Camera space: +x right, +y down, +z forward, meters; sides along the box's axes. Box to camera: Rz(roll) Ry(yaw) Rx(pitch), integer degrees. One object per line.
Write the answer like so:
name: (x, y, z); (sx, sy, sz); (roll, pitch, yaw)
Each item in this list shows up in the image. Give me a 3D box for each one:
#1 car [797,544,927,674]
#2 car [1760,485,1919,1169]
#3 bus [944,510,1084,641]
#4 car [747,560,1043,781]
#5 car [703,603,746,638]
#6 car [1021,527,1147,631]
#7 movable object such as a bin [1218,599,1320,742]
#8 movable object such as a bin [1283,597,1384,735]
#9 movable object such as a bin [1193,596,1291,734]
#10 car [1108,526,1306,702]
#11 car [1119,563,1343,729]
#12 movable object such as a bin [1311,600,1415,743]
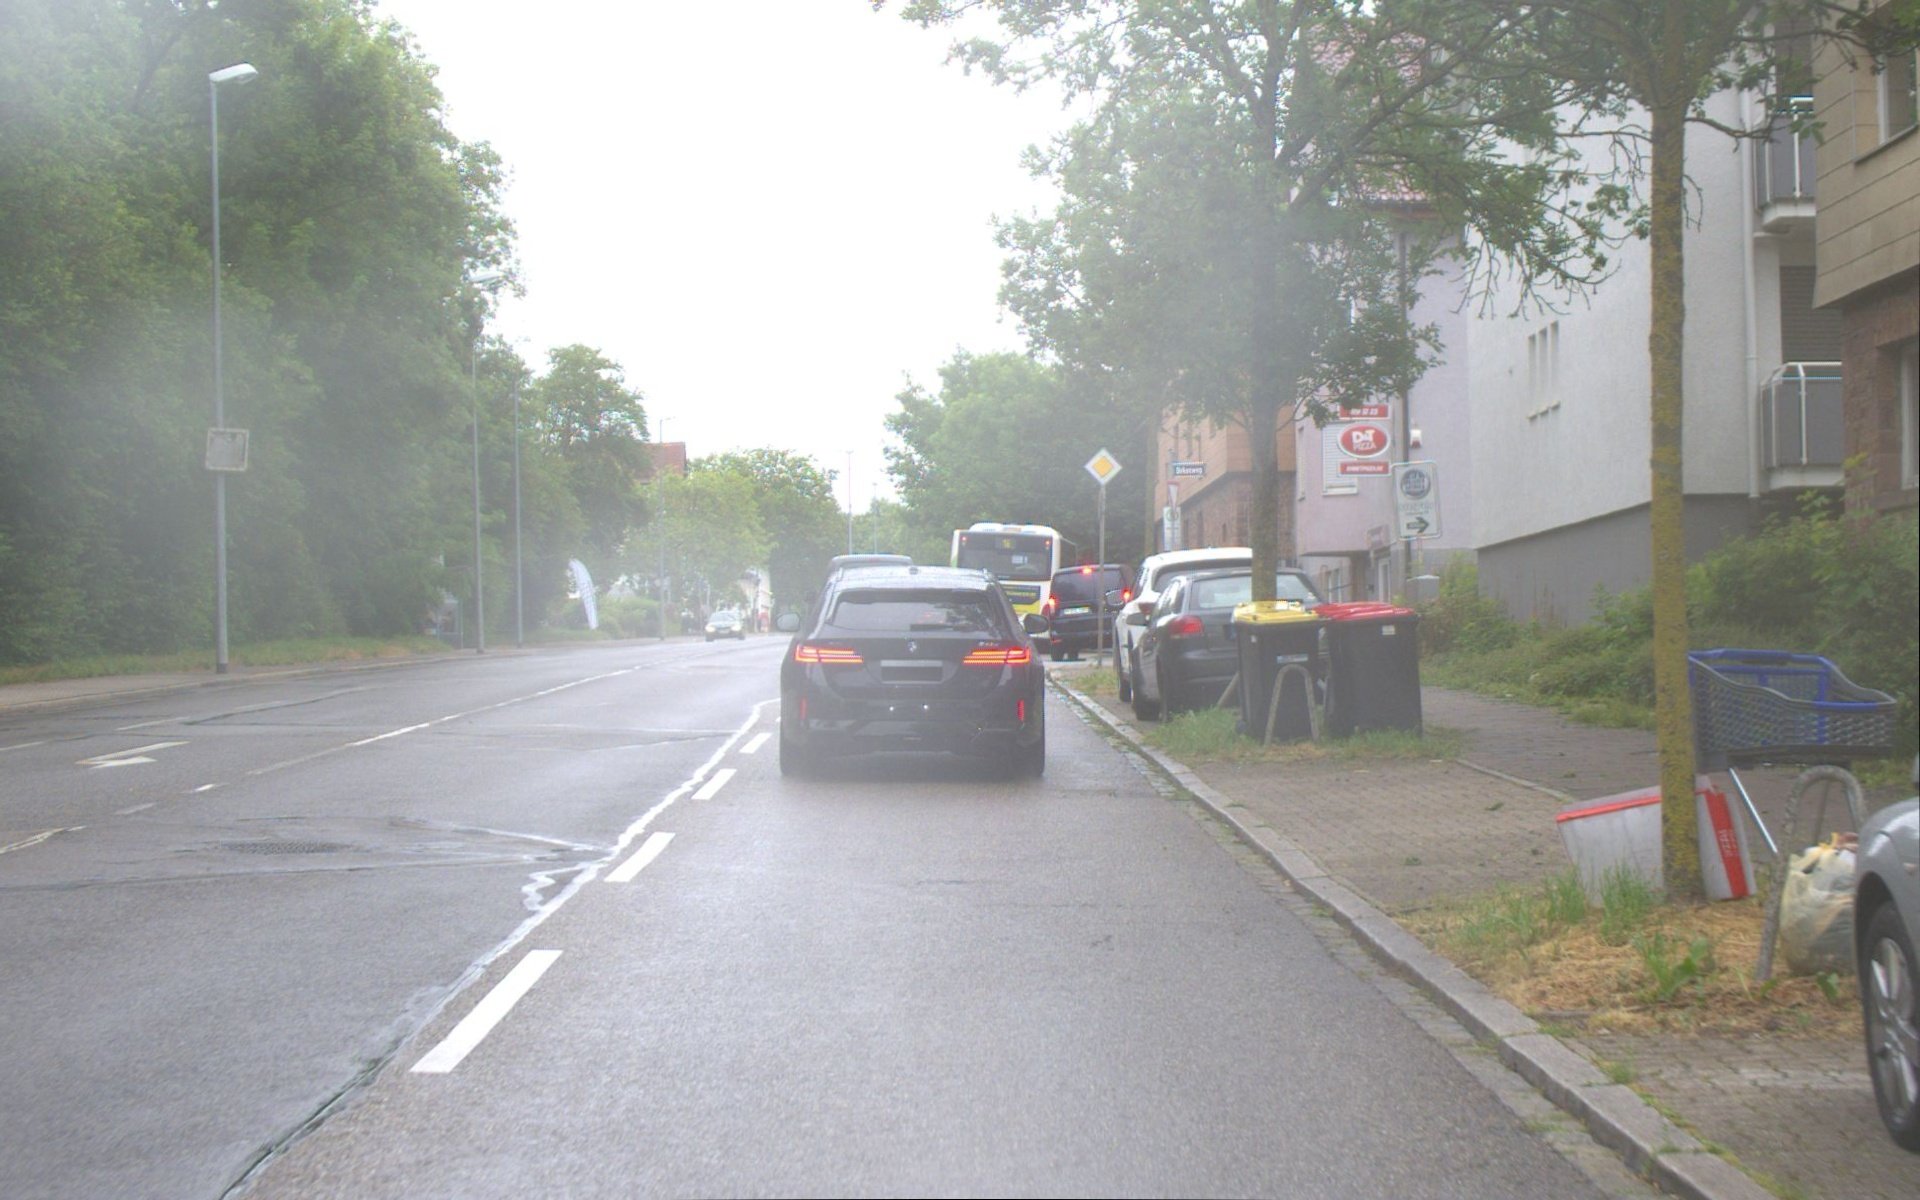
car: (-1.545, 0.122, 55.394); (1.993, 2.007, 4.000); (0, 1, 0)
car: (3.032, 0.516, 6.862); (1.702, 1.579, 4.643); (-4, 2, 0)
bus: (1.349, -0.621, 80.776); (2.623, 2.838, 8.287); (-2, 1, 5)
car: (-0.473, 0.462, 25.656); (1.993, 1.448, 4.000); (2, 1, -1)
car: (-11.303, 0.985, 165.030); (1.770, 1.528, 4.000); (-2, 1, -1)
car: (2.542, -0.402, 69.272); (1.927, 1.886, 4.759); (-4, -1, 8)
movable object such as a bin: (2.404, 0.543, 26.805); (0.619, 1.046, 0.822); (-3, 1, -3)
movable object such as a bin: (3.006, 0.524, 27.714); (0.619, 1.046, 0.822); (-3, 1, -3)
movable object such as a bin: (2.267, 0.518, 27.703); (0.619, 1.046, 0.822); (-3, 1, -3)
car: (2.655, 0.110, 37.864); (1.824, 1.766, 4.541); (-2, 1, 0)
car: (2.495, 0.392, 32.520); (1.641, 1.444, 3.999); (-1, 0, -2)
movable object such as a bin: (3.135, 0.550, 26.792); (0.619, 1.046, 0.822); (-3, 1, -3)
